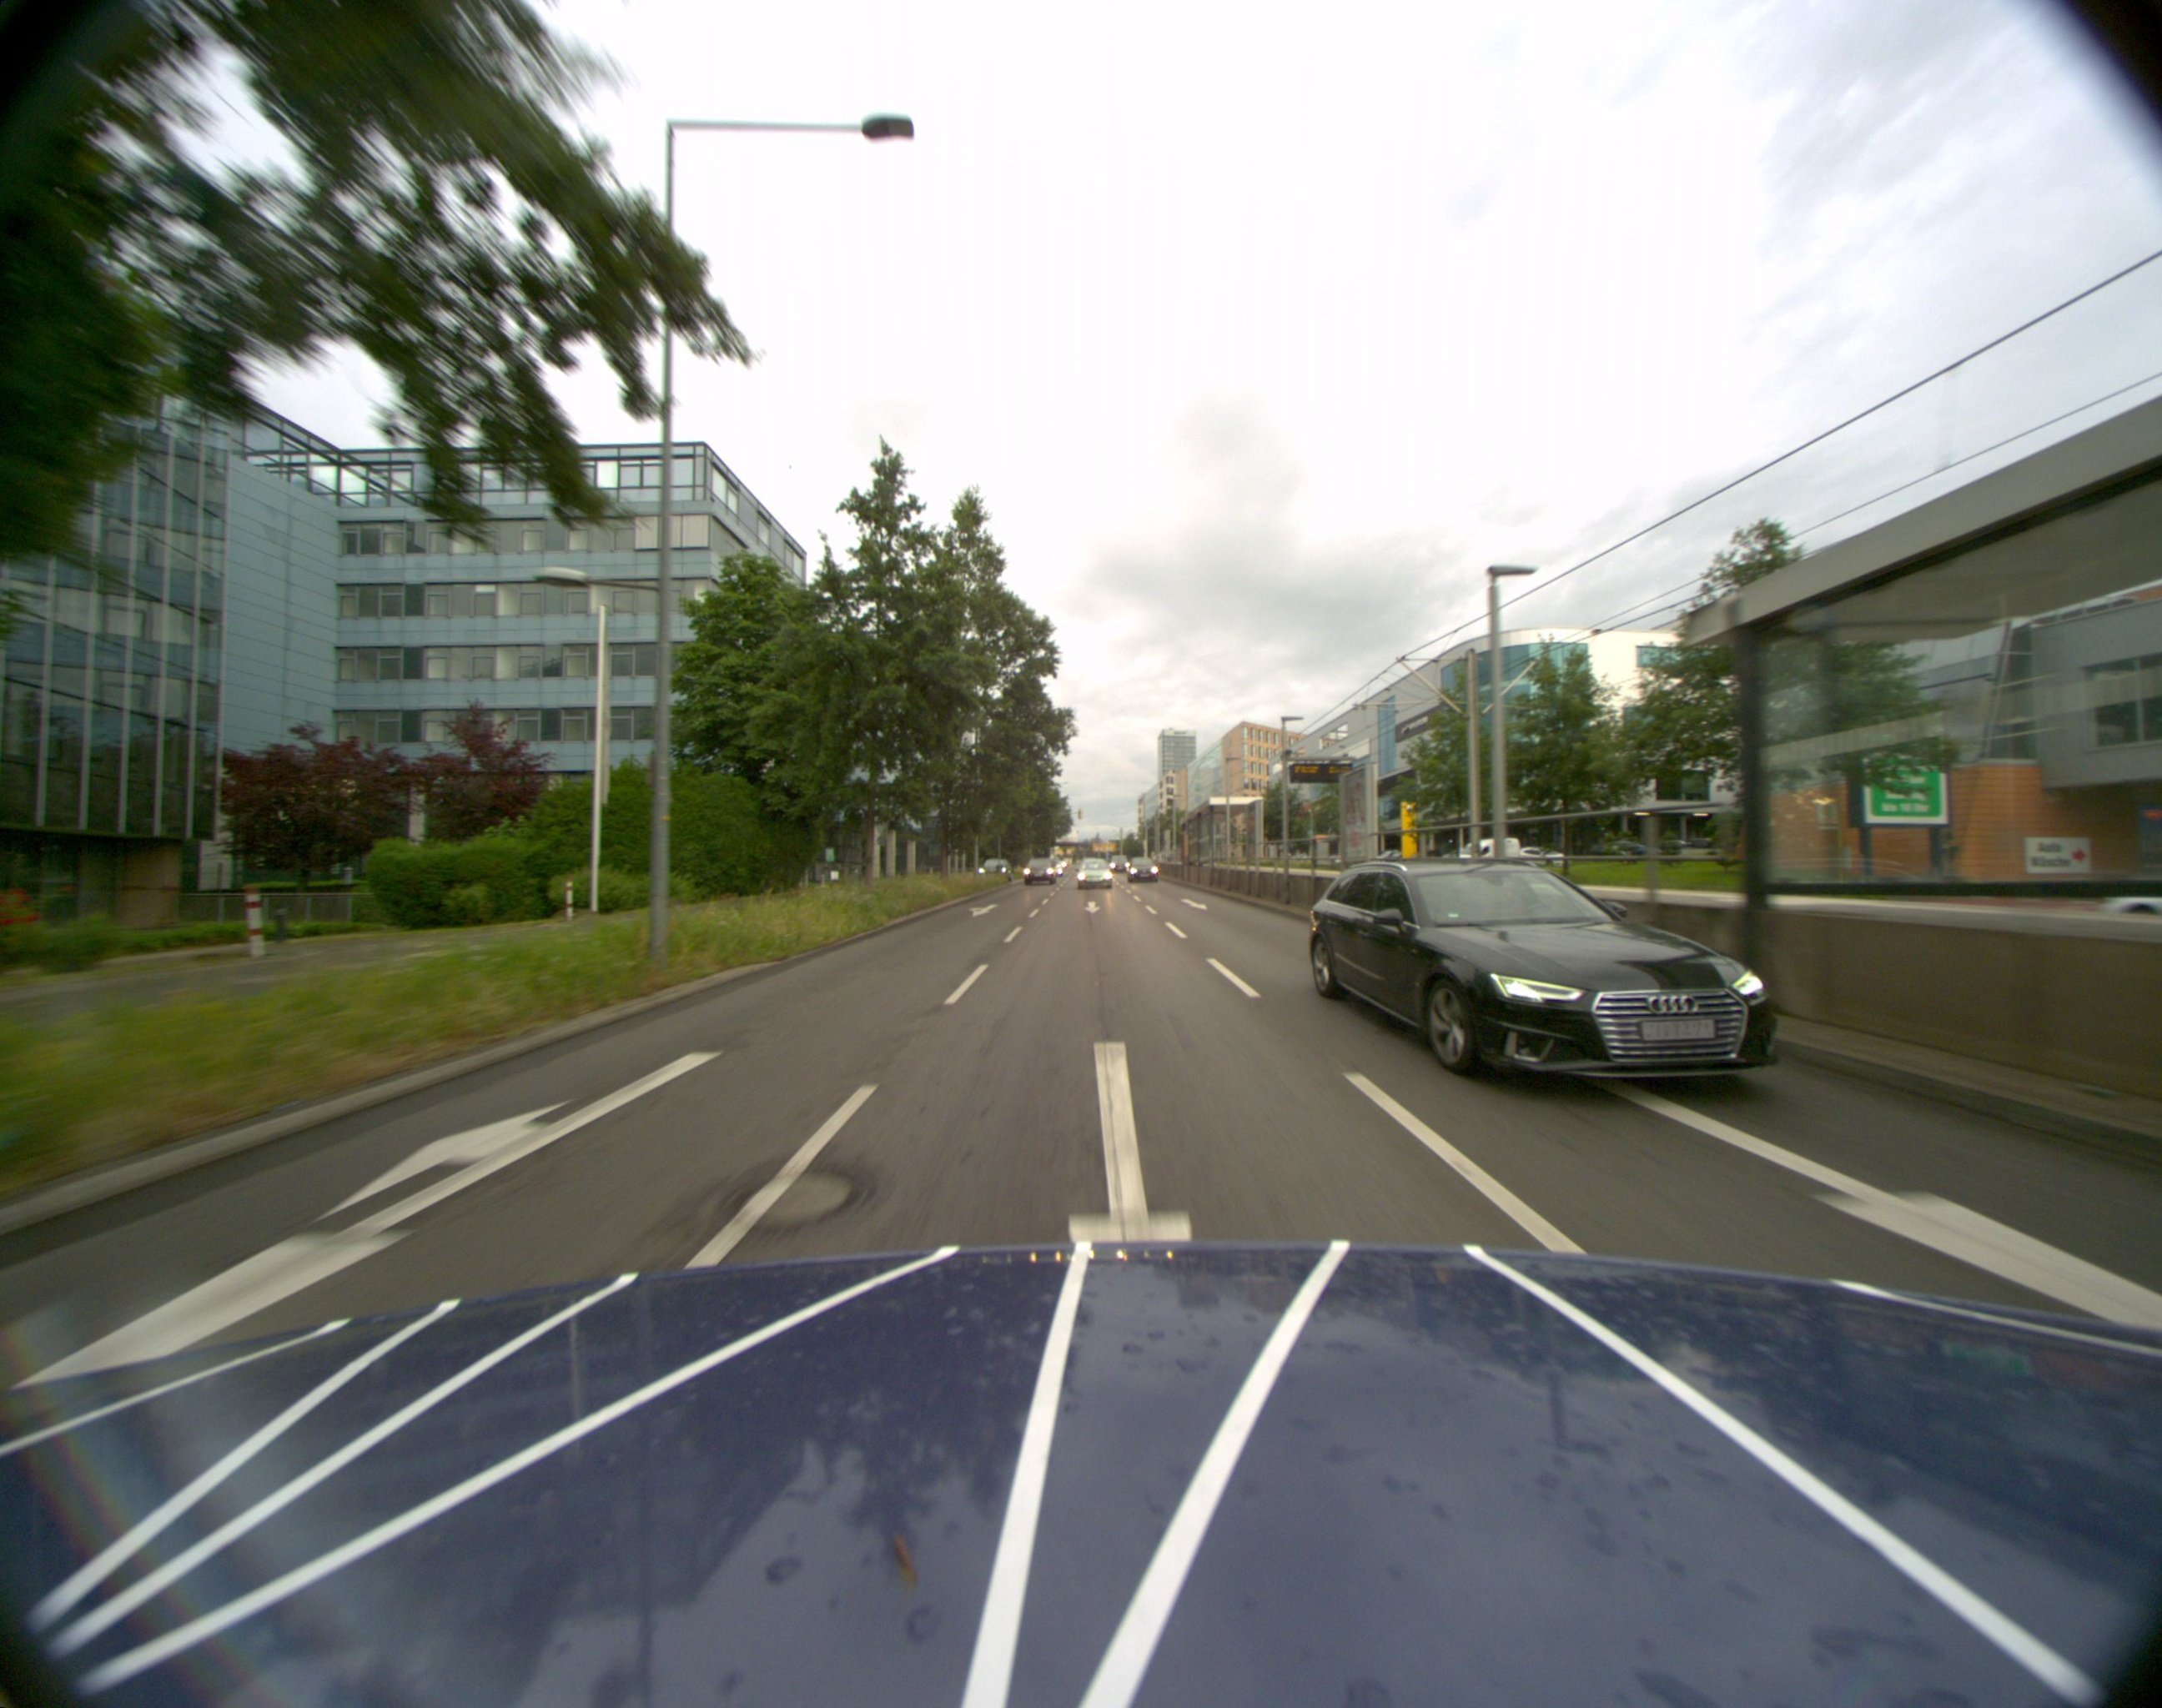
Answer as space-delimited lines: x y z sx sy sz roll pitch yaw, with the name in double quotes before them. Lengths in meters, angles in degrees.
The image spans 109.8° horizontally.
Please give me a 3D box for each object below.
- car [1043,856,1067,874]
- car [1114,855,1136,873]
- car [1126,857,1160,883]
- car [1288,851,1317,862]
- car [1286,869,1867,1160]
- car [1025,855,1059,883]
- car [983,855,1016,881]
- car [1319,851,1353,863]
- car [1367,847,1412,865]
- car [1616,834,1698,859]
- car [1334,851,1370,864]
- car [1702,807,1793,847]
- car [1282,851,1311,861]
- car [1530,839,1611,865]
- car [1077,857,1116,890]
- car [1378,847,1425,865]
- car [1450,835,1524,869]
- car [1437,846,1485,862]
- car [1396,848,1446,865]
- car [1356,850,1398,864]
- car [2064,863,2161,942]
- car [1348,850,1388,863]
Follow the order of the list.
"car" -2.234 0.929 66.044 1.873 1.533 4.107 -1 0 1
"car" 4.170 0.950 72.514 1.781 1.670 4.131 -1 0 1
"car" 3.776 0.939 46.624 1.798 1.492 4.000 -1 0 1
"car" 32.822 0.322 112.645 3.845 1.482 1.821 -1 0 -18
"car" 3.287 0.905 6.455 1.794 1.426 4.829 -1 0 1
"car" -2.381 0.901 47.907 1.816 1.660 4.549 -1 0 1
"car" -5.639 0.947 52.790 1.816 1.660 4.370 -1 0 -1
"car" 33.219 0.374 99.022 3.845 1.482 1.821 -1 0 -18
"car" 33.361 0.222 82.213 3.999 1.652 1.921 -4 0 -6
"car" 49.586 -0.675 65.462 5.483 1.915 2.278 -2 1 -5
"car" 33.494 0.408 93.966 3.845 1.482 1.821 -1 0 -18
"car" 58.472 -2.318 66.747 5.483 3.253 2.999 -2 1 -5
"car" 32.710 0.312 115.239 3.846 1.482 1.820 -1 0 -22
"car" 41.475 -0.174 64.457 5.483 1.915 2.278 -2 1 -5
"car" 0.752 0.936 38.190 1.803 1.533 4.374 -1 0 1
"car" 33.537 0.237 79.544 3.999 1.652 1.921 -3 0 -6
"car" 34.564 -0.194 64.637 5.488 2.614 2.276 -2 1 -17
"car" 38.584 0.022 77.284 1.775 1.460 3.989 -1 0 -38
"car" 33.282 0.220 74.383 3.999 1.499 1.896 -2 1 -8
"car" 33.124 0.309 85.161 3.999 1.482 1.823 -1 0 -6
"car" 23.008 1.015 14.646 1.999 1.509 4.706 -2 0 -1
"car" 33.371 0.282 88.420 3.999 1.482 1.823 -1 0 -6
